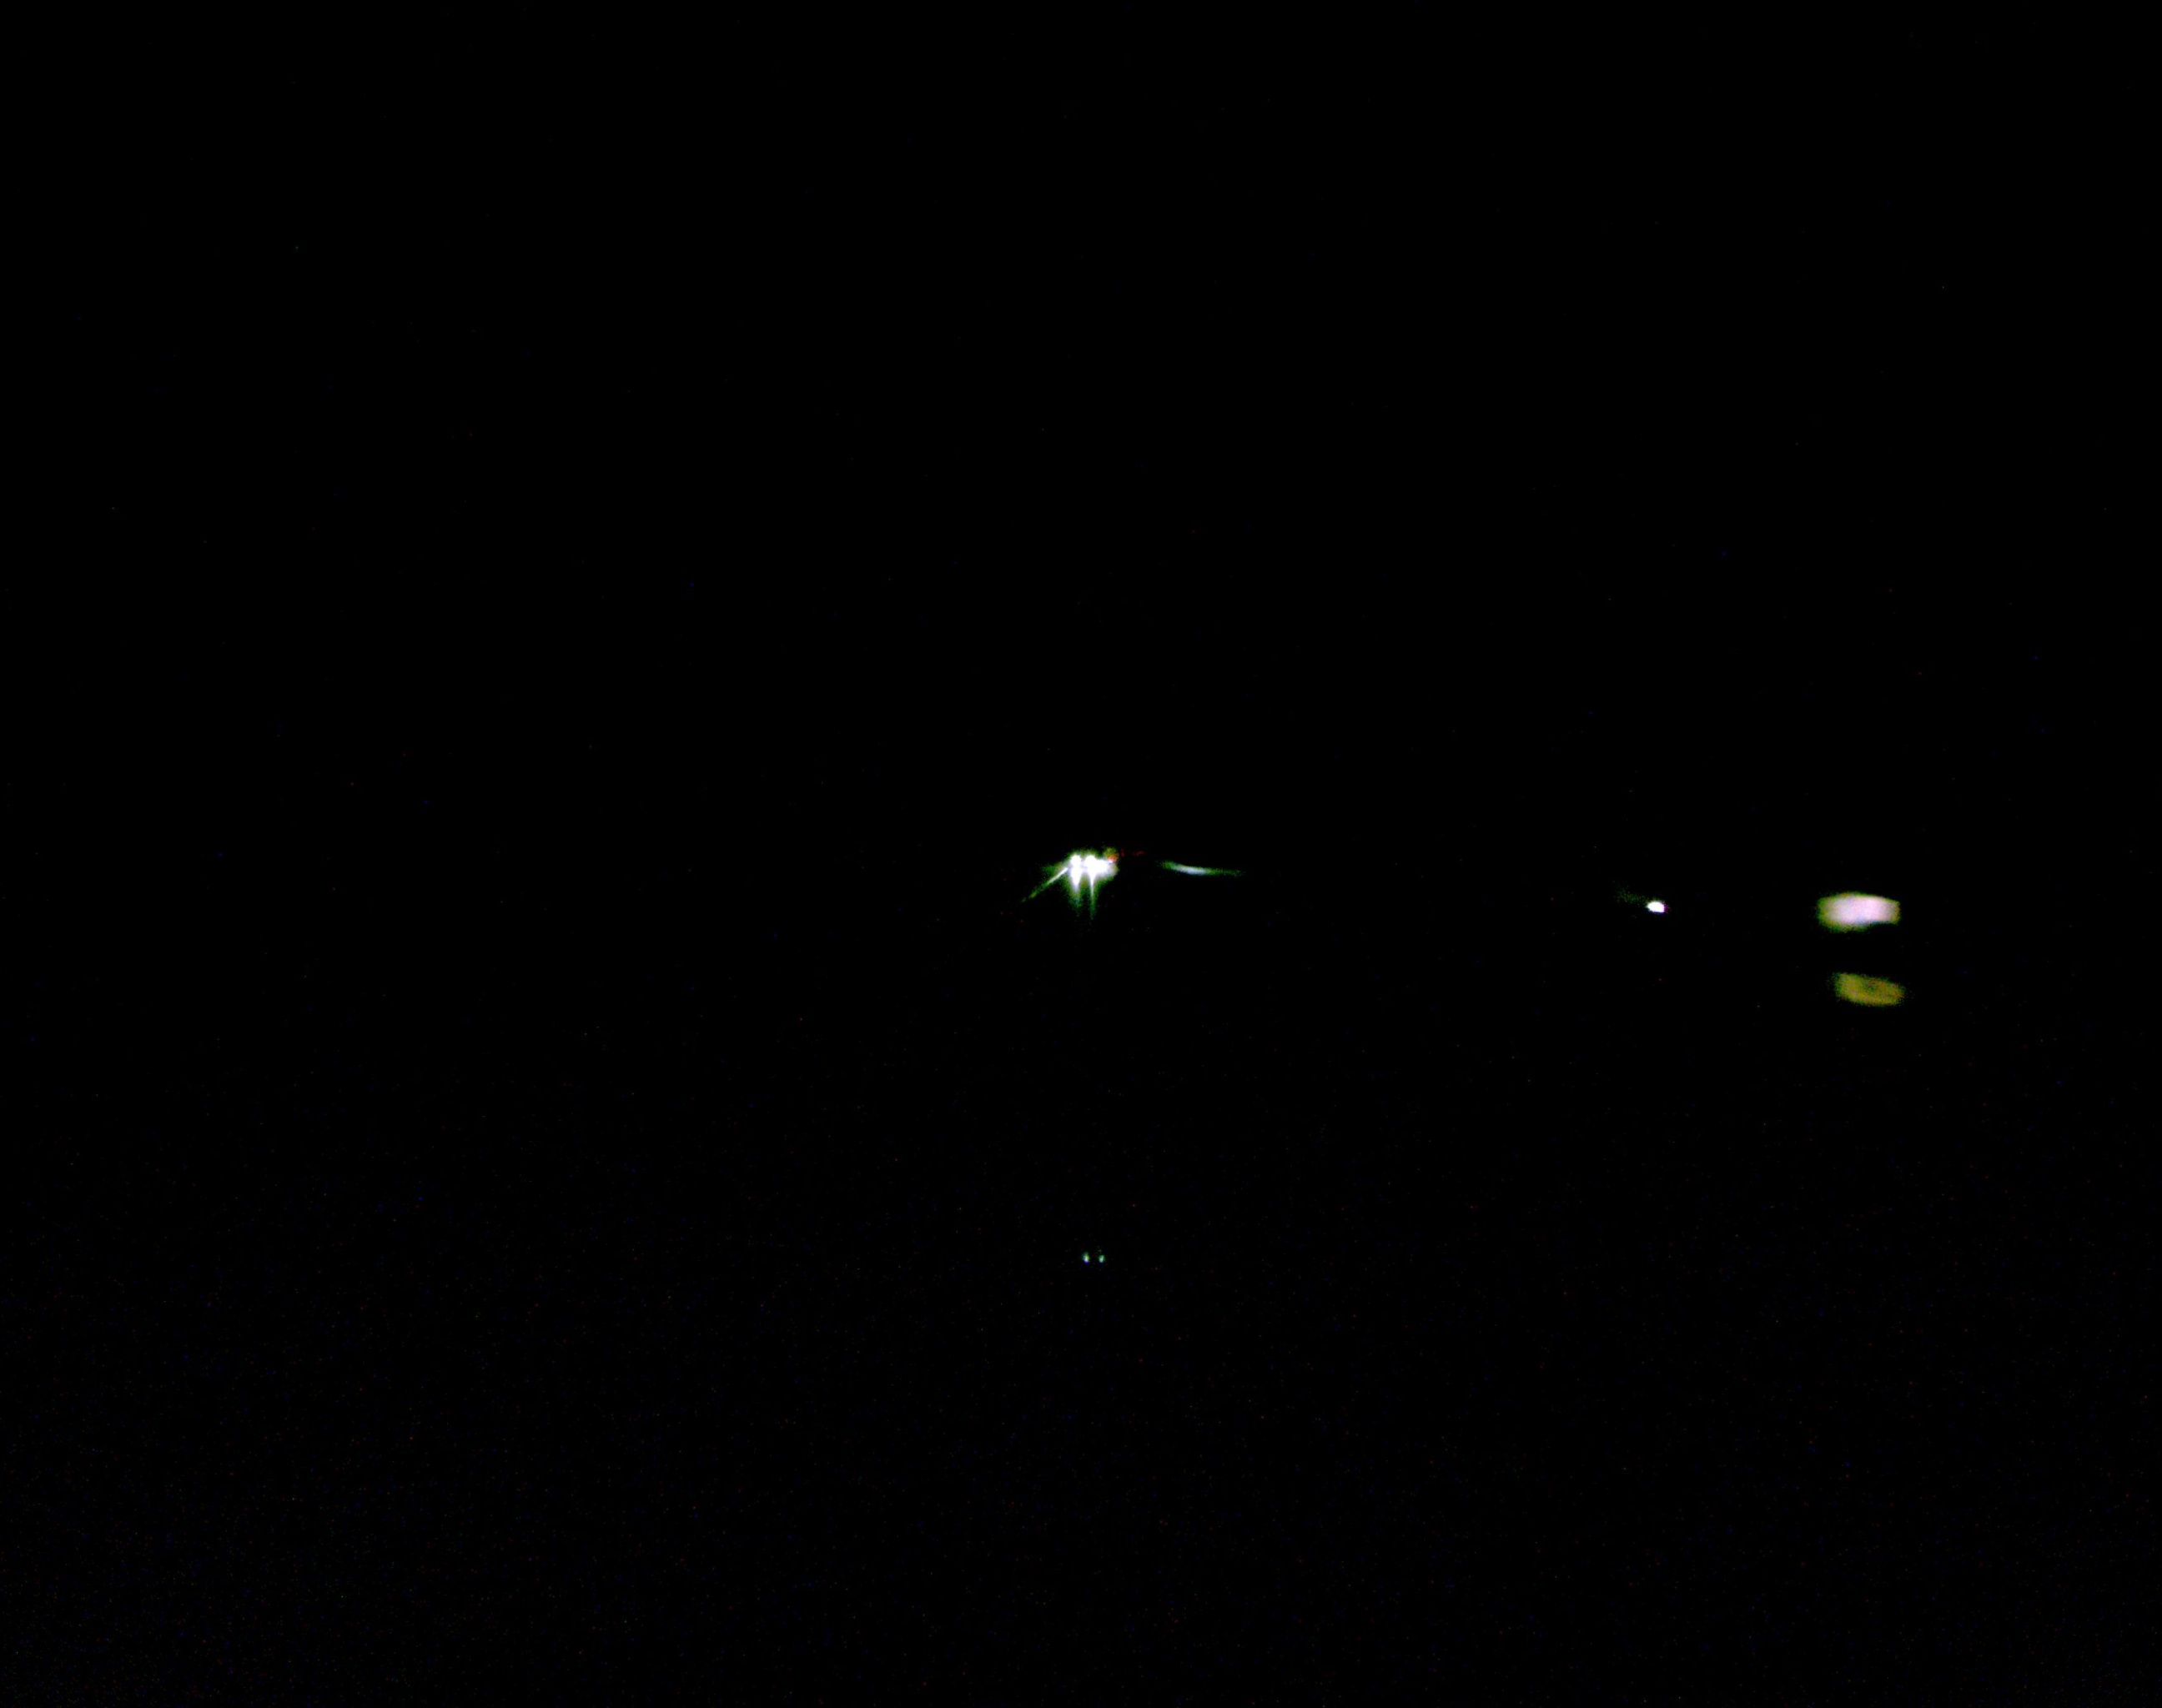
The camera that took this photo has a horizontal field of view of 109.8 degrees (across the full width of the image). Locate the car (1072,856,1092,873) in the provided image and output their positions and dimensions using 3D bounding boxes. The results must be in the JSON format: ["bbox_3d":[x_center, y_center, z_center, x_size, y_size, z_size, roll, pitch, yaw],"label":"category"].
[{"bbox_3d":[0.169,1.085,83.835,1.998,1.724,4.000,3,0,1],"label":"car"}]

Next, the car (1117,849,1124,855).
[{"bbox_3d":[12.434,-0.647,239.847,1.834,1.559,3.780,1,0,1],"label":"car"}]
